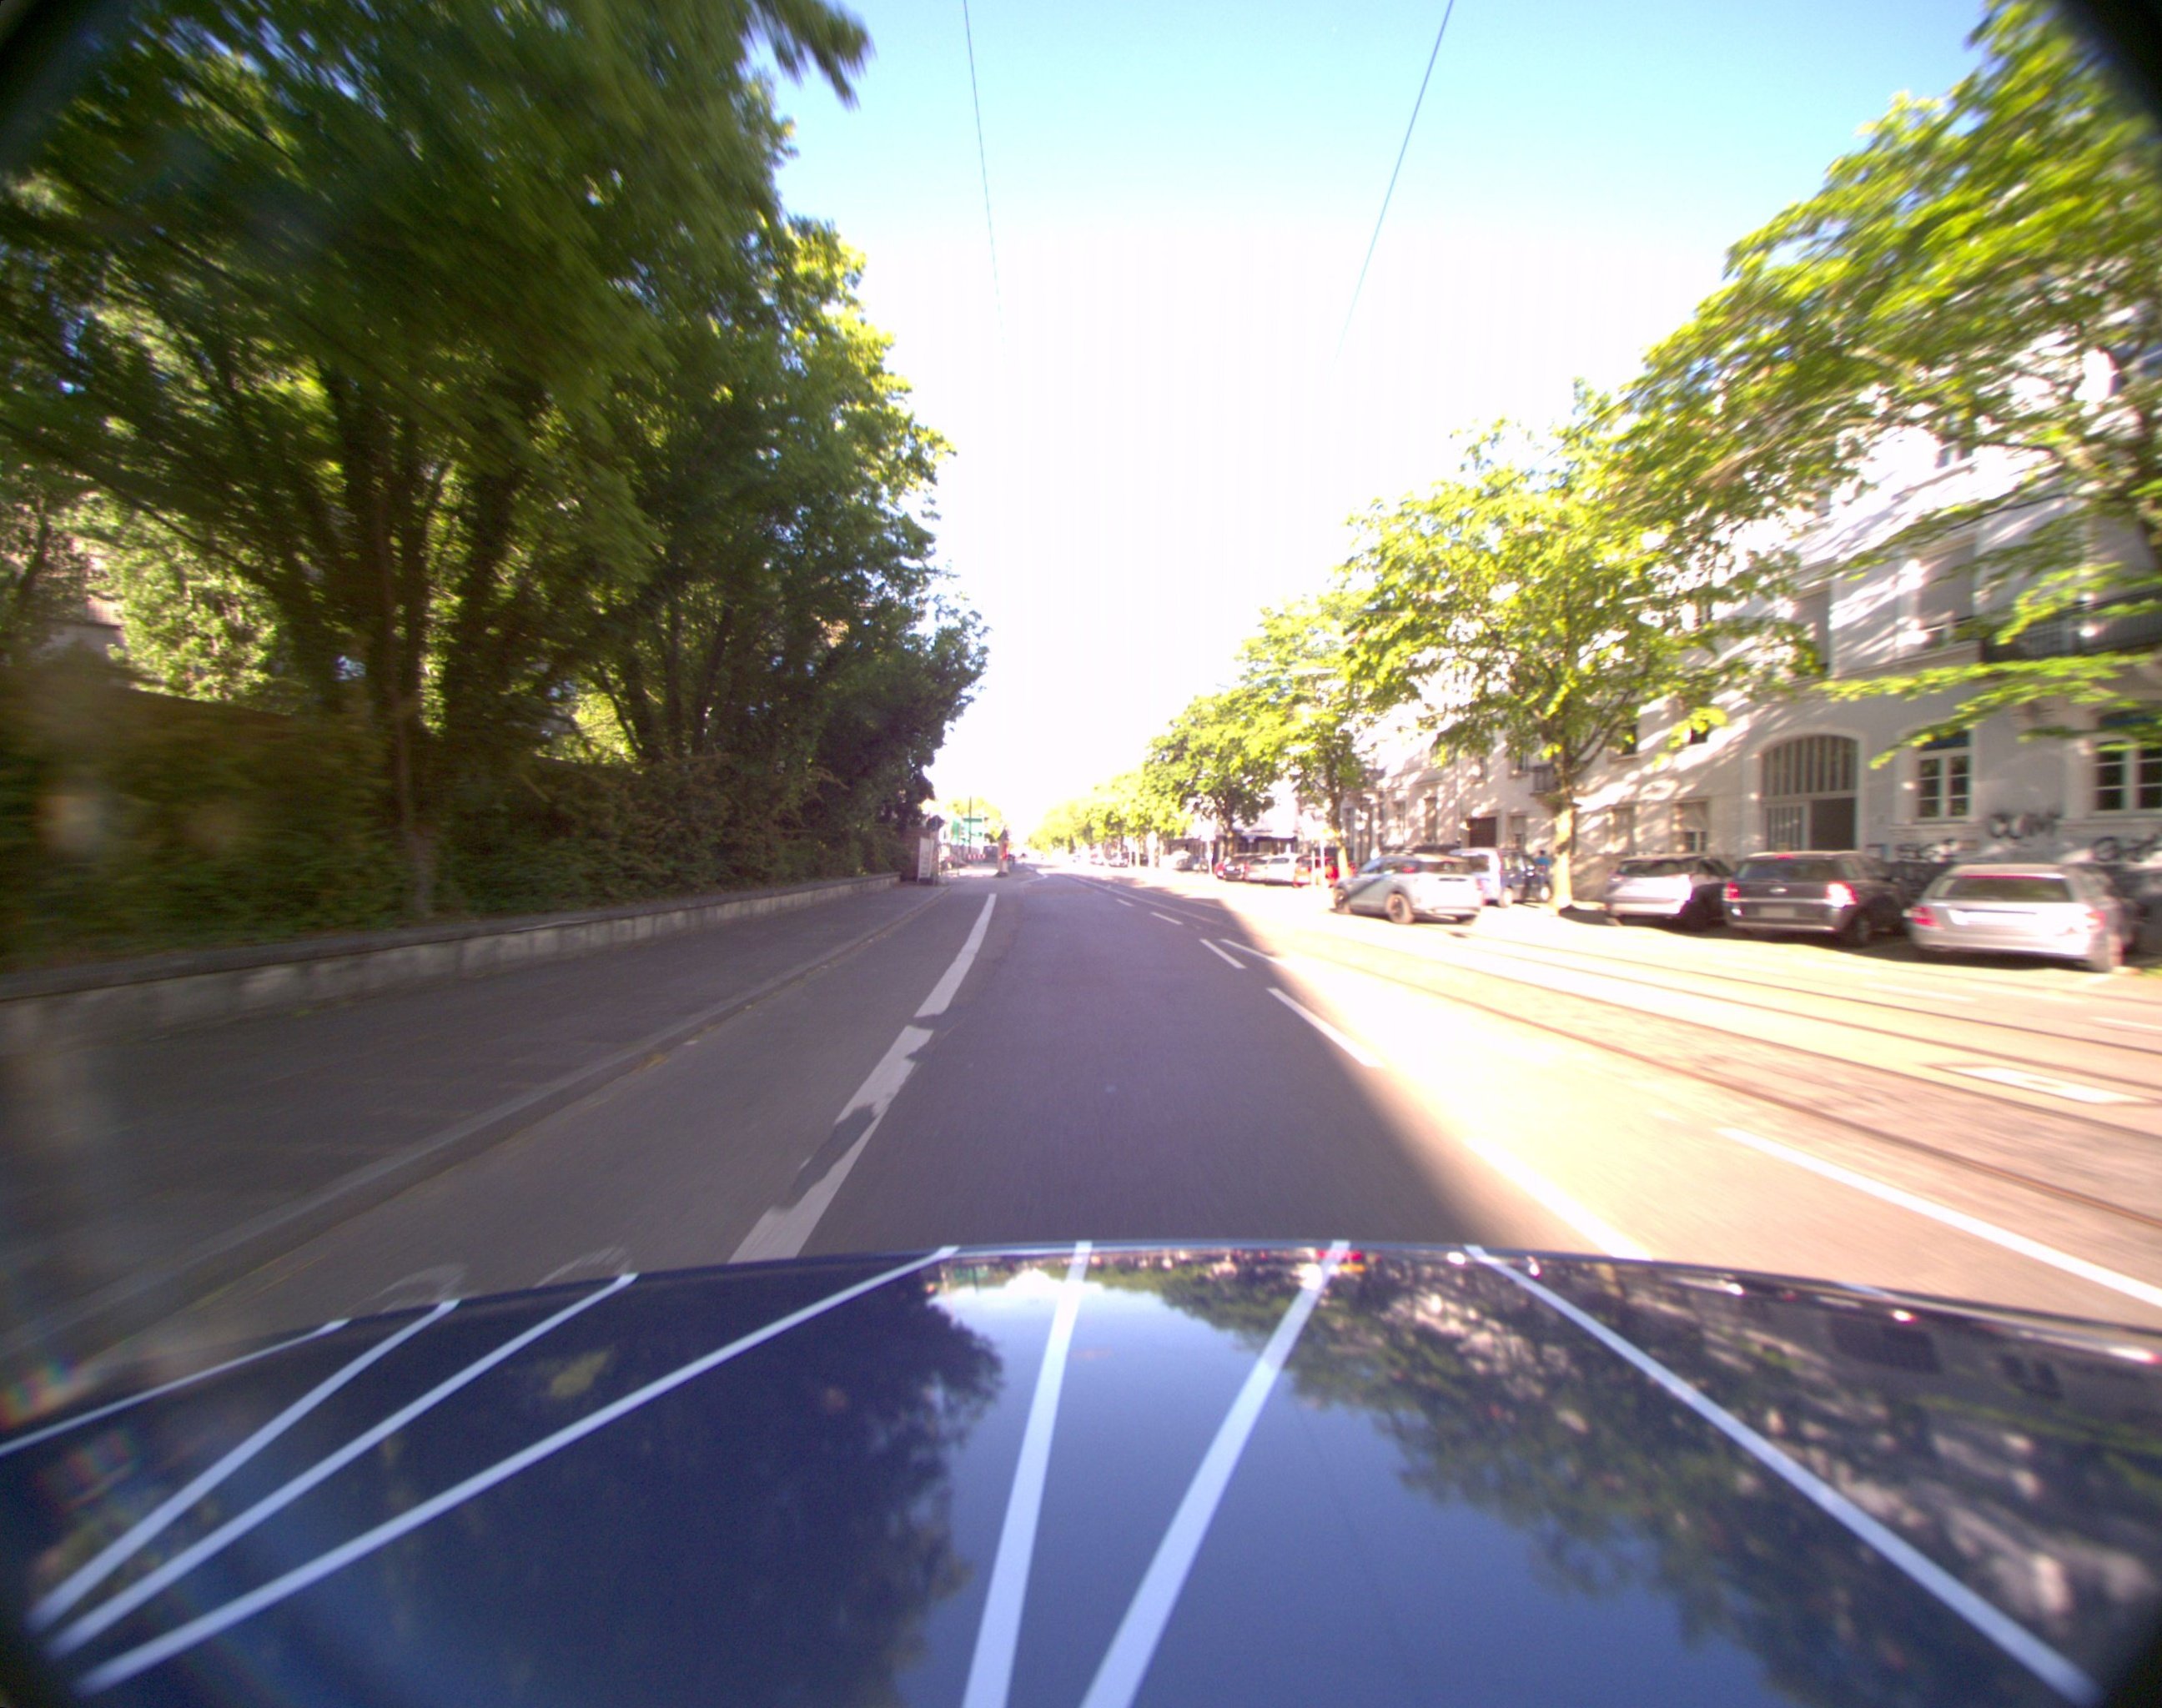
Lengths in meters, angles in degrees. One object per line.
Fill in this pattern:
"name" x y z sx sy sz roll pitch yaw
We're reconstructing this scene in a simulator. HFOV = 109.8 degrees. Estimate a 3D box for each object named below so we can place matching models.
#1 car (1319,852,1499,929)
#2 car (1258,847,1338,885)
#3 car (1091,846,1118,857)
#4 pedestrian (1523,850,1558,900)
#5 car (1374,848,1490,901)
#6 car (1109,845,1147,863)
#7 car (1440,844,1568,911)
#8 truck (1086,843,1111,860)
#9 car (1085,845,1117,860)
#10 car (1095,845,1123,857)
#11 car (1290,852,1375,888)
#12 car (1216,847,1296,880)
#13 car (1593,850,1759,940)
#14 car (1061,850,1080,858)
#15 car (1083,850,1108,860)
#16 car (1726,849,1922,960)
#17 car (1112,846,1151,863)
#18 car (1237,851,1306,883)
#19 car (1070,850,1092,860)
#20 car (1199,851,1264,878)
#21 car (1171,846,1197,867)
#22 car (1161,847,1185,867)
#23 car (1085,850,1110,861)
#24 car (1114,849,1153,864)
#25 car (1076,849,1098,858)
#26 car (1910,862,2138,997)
"car" 7.606 0.765 18.164 1.877 1.591 4.423 1 0 -8
"car" 11.276 0.589 39.352 4.208 1.714 1.780 -3 2 -37
"car" 3.589 -0.380 114.497 3.774 1.584 1.671 -2 1 -11
"pedestrian" 15.785 0.715 26.092 0.643 1.686 0.870 0 1 -1
"car" 12.478 0.688 26.955 4.208 1.627 1.739 -3 0 -34
"car" 5.723 0.001 93.036 4.309 1.940 1.671 -2 1 -11
"car" 13.214 0.639 23.666 4.208 1.788 1.781 -3 2 -34
"truck" 2.795 -0.405 120.425 3.772 2.409 1.671 -2 1 -6
"car" 2.714 -0.215 102.895 4.103 1.768 1.671 -2 1 -11
"car" 4.085 -0.473 112.404 3.774 1.584 1.671 -2 1 -11
"car" 12.076 0.724 36.430 4.208 1.549 1.636 -2 1 -34
"car" 10.295 0.511 44.630 4.365 1.704 1.944 -3 2 -28
"car" 13.071 0.792 16.645 3.877 1.645 1.768 -2 2 -34
"car" -2.198 -0.064 158.408 3.623 1.492 1.502 -2 1 -11
"car" 2.439 0.199 126.509 3.774 1.584 1.671 -2 1 -11
"car" 13.497 0.781 13.760 3.877 1.645 1.768 -2 2 -34
"car" 5.975 0.043 90.048 4.309 1.940 1.671 -2 1 -11
"car" 10.594 0.687 42.191 3.772 1.511 1.744 -3 2 -39
"car" -0.026 0.195 136.014 3.774 1.584 1.671 -2 1 -11
"car" 9.607 0.635 48.375 4.007 1.478 1.777 -2 2 -37
"car" 9.474 0.193 69.845 1.672 1.887 3.213 1 1 -5
"car" 8.936 0.267 74.186 1.672 1.887 3.213 1 1 -5
"car" 2.658 0.263 122.943 3.774 1.584 1.671 -2 1 -11
"car" 5.913 0.261 86.412 4.103 1.561 1.671 -2 1 -11
"car" 1.111 -0.132 142.744 3.774 1.584 1.671 -2 1 -11
"car" 13.837 0.941 11.111 3.828 1.477 1.766 -2 2 -34
